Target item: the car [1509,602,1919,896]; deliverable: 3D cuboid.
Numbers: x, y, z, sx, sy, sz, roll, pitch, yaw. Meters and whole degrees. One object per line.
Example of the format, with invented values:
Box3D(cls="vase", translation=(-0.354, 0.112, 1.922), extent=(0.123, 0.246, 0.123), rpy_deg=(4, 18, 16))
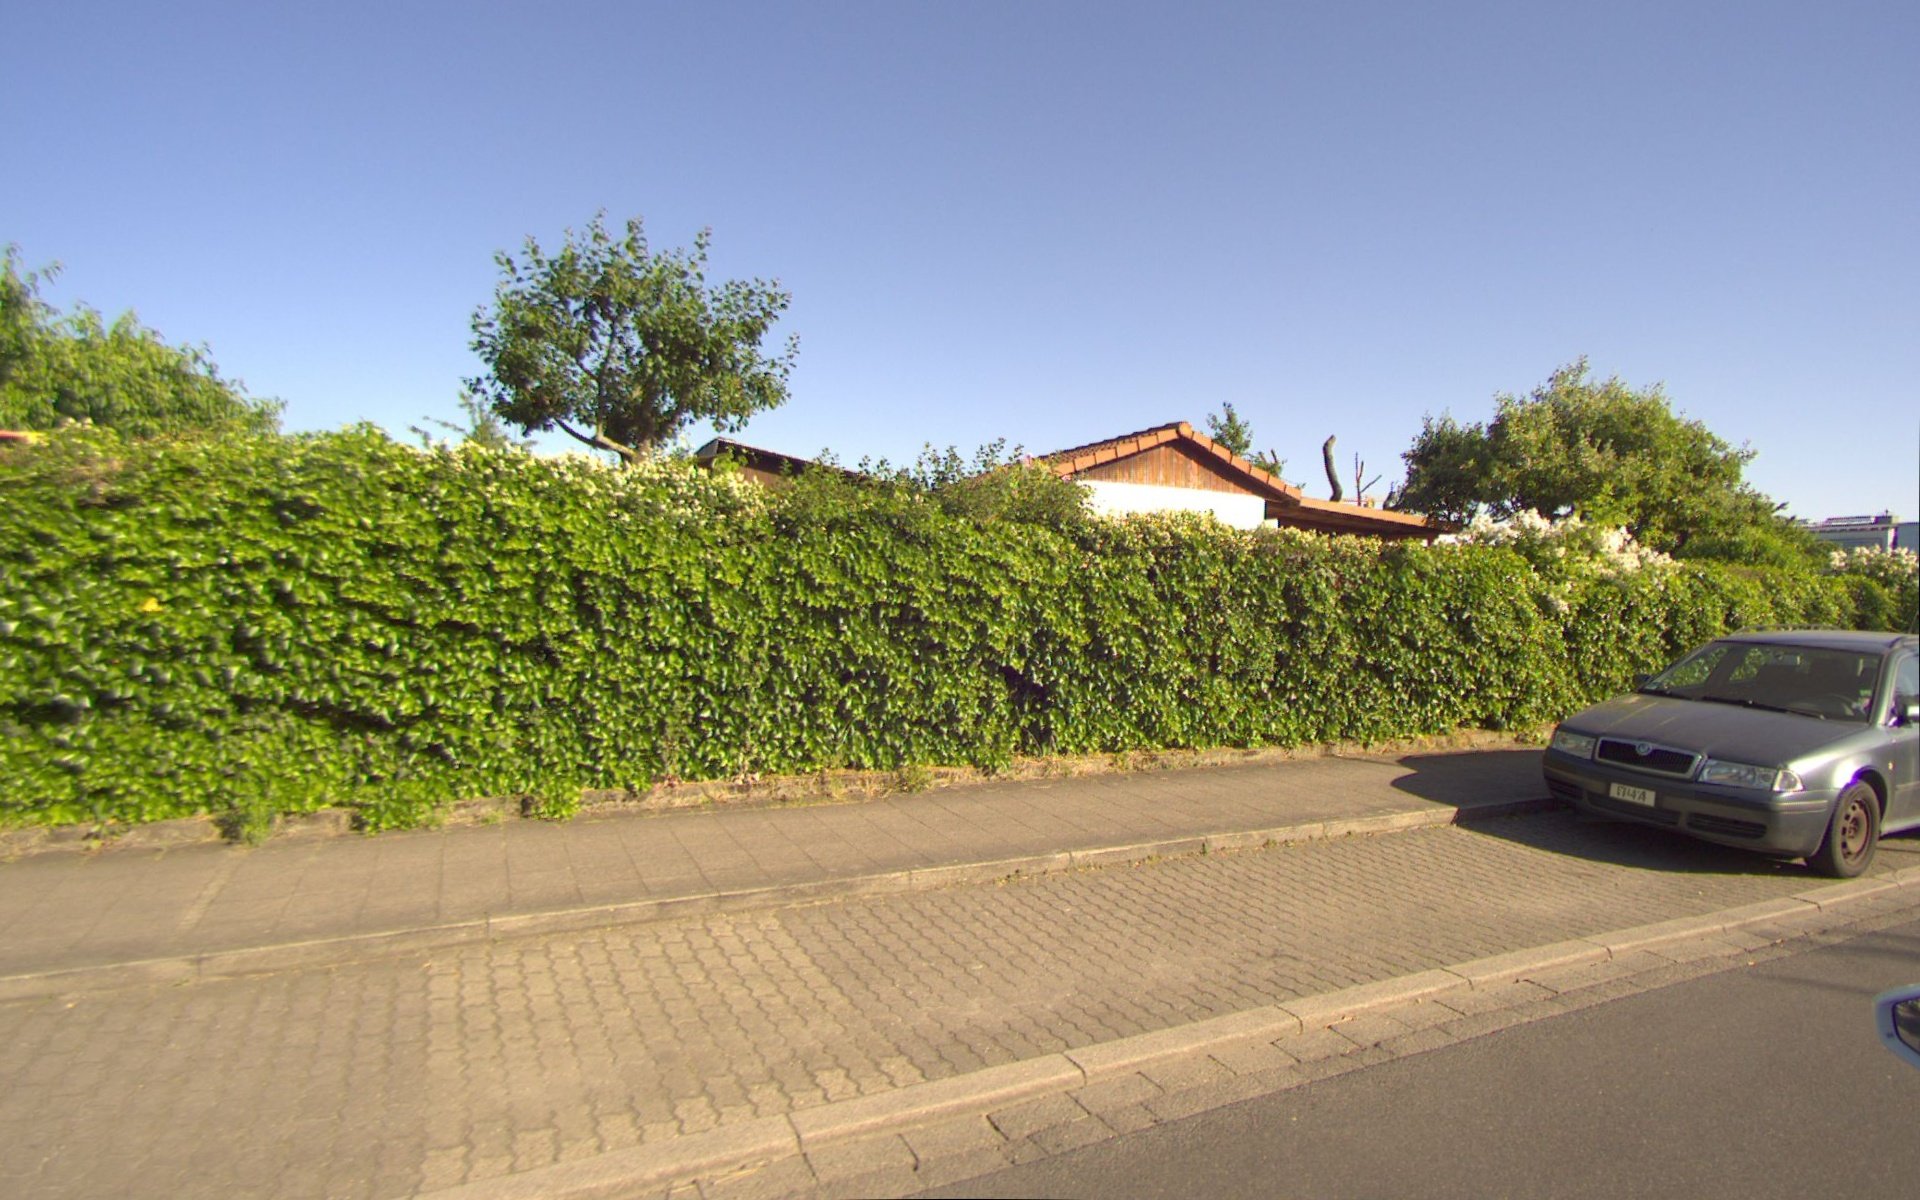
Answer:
Box3D(cls="car", translation=(6.233, 0.888, 7.386), extent=(4.361, 1.577, 1.637), rpy_deg=(1, 3, -27))
